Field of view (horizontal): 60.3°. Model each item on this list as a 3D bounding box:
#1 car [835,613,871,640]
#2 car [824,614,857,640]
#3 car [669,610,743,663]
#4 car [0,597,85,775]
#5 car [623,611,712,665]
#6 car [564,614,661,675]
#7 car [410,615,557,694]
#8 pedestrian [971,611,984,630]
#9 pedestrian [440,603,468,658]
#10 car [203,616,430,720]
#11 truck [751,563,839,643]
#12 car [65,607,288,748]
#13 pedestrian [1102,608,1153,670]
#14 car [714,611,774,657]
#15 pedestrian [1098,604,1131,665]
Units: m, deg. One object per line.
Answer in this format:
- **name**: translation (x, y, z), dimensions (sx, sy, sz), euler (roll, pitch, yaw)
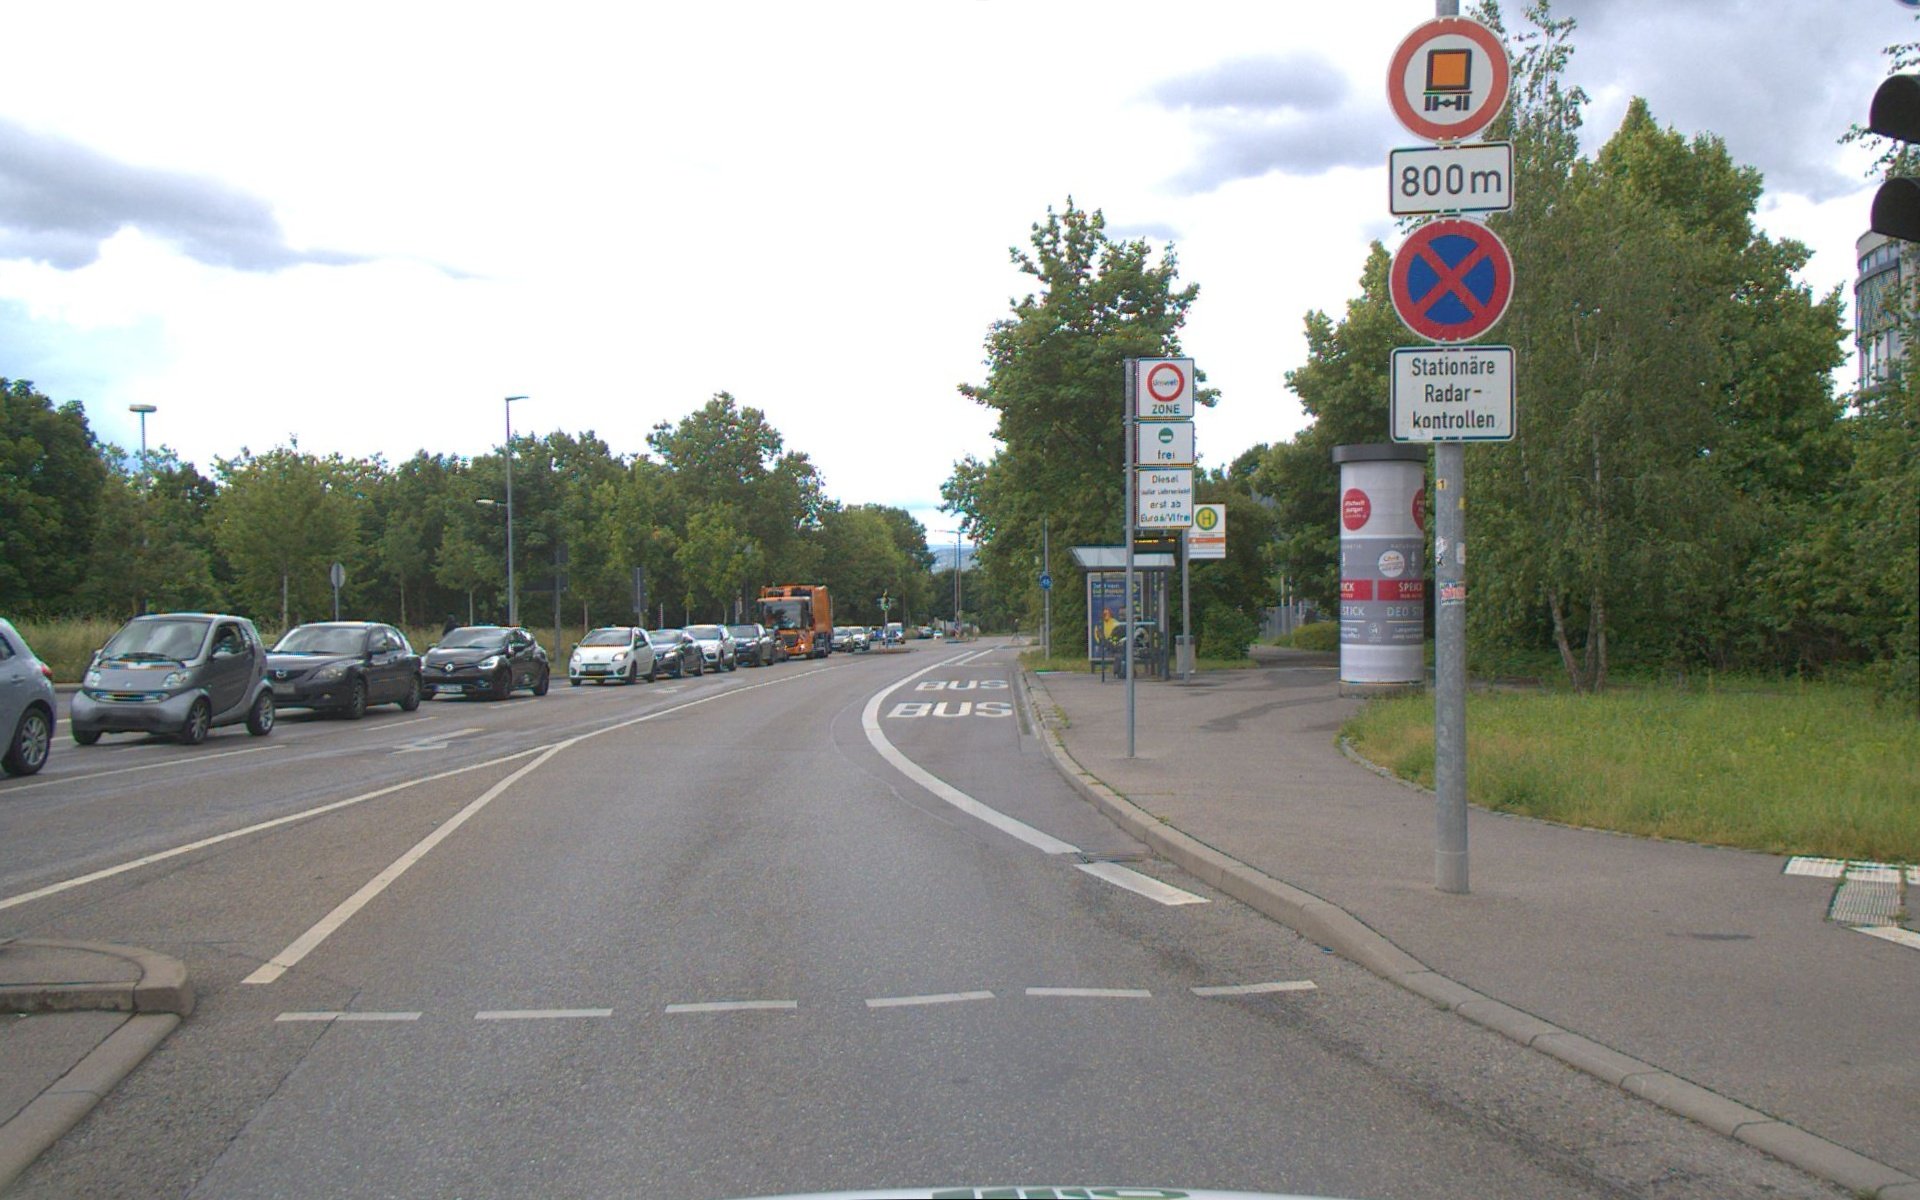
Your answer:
- **car**: translation (-6.741, 1.651, 104.560), dimensions (1.808, 1.547, 4.816), euler (-3, 0, 1)
- **car**: translation (-6.952, 1.538, 96.561), dimensions (1.515, 1.354, 3.655), euler (-3, 0, 2)
- **car**: translation (-8.565, 1.207, 56.020), dimensions (1.694, 1.613, 4.224), euler (-1, 0, 2)
- **car**: translation (-9.390, 0.789, 14.019), dimensions (1.790, 1.562, 4.218), euler (-1, 0, -2)
- **car**: translation (-8.610, 1.088, 49.102), dimensions (1.605, 1.415, 4.886), euler (-1, 1, 2)
- **car**: translation (-9.013, 1.130, 43.156), dimensions (1.605, 1.415, 3.763), euler (-1, 0, 2)
- **car**: translation (-9.331, 1.035, 32.704), dimensions (1.605, 1.355, 4.062), euler (-1, 0, 2)
- **pedestrian**: translation (1.362, 1.607, 129.756), dimensions (0.776, 1.489, 0.745), euler (-2, 0, -16)
- **pedestrian**: translation (-17.627, 1.053, 57.570), dimensions (0.706, 1.867, 0.678), euler (-1, 0, 3)
- **car**: translation (-9.874, 0.992, 25.756), dimensions (1.762, 1.355, 4.380), euler (-1, 0, 1)
- **truck**: translation (-7.705, 0.083, 78.546), dimensions (2.649, 3.548, 9.999), euler (-1, 0, 3)
- **car**: translation (-9.579, 0.902, 20.422), dimensions (1.399, 1.553, 2.775), euler (-1, 0, 0)
- **pedestrian**: translation (3.584, 0.821, 35.371), dimensions (0.769, 1.274, 0.761), euler (-1, 1, -40)
- **car**: translation (-8.286, 1.270, 63.671), dimensions (1.605, 1.613, 4.062), euler (-1, 0, 2)
- **pedestrian**: translation (3.447, 0.759, 36.997), dimensions (0.713, 1.339, 0.589), euler (0, 0, 4)
